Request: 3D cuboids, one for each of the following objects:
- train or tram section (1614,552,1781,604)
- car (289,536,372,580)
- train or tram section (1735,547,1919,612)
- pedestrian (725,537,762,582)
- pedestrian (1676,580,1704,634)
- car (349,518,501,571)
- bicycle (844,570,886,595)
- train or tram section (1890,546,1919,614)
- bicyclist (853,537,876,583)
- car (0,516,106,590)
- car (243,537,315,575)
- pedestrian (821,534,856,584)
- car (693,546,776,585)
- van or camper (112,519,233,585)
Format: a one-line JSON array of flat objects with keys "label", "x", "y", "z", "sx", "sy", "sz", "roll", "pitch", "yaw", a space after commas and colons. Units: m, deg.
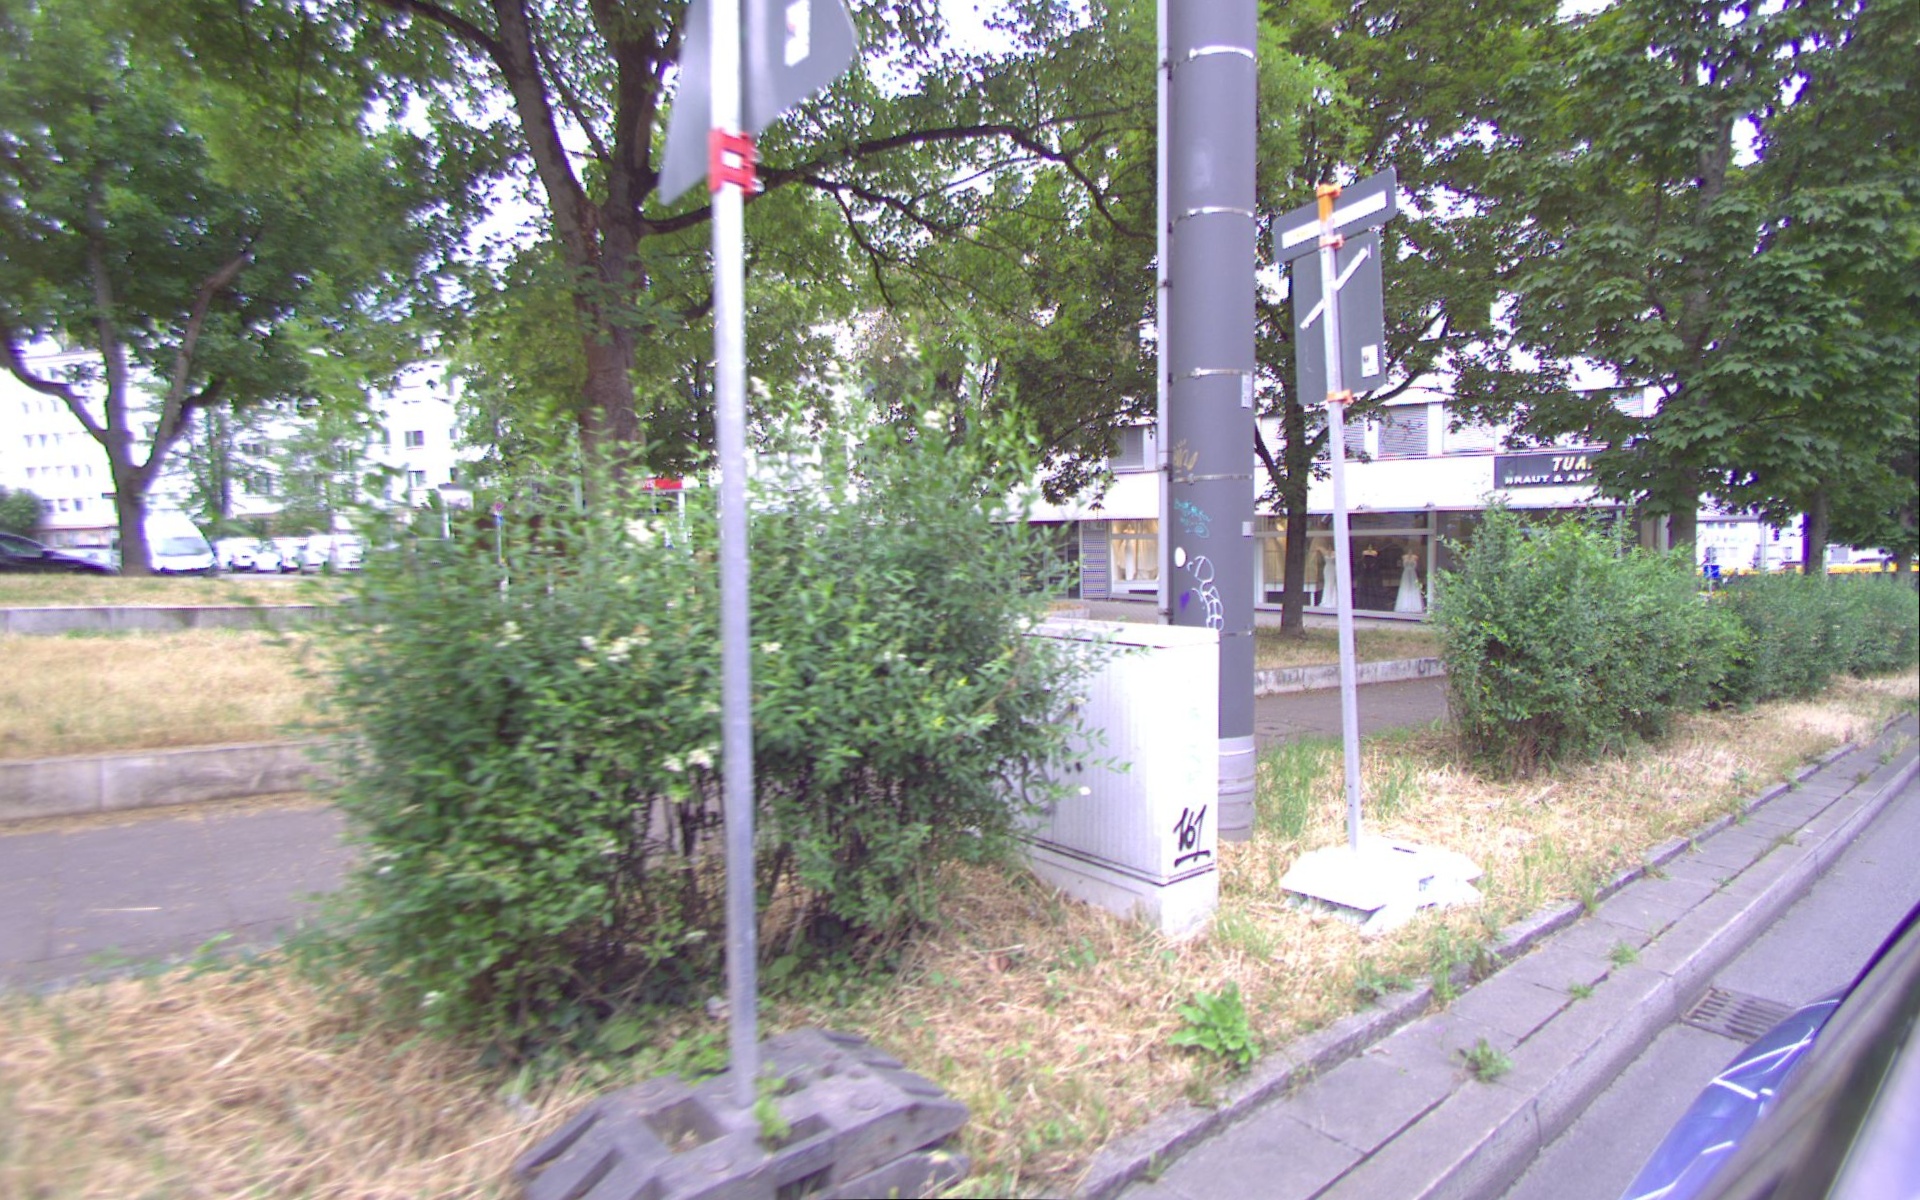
[{"label": "train or tram section", "x": 56.954, "y": -1.667, "z": 78.933, "sx": 2.838, "sy": 3.484, "sz": 14.224, "roll": -3, "pitch": 1, "yaw": 2}, {"label": "car", "x": -30.843, "y": -2.033, "z": 49.513, "sx": 4.438, "sy": 1.909, "sz": 1.974, "roll": -2, "pitch": 1, "yaw": 38}, {"label": "train or tram section", "x": 55.840, "y": -1.431, "z": 64.866, "sx": 2.882, "sy": 3.602, "sz": 14.206, "roll": -2, "pitch": 2, "yaw": 7}, {"label": "pedestrian", "x": -9.082, "y": -1.685, "z": 42.444, "sx": 1.014, "sy": 1.845, "sz": 1.150, "roll": -2, "pitch": 0, "yaw": 25}, {"label": "pedestrian", "x": 24.784, "y": 0.233, "z": 34.360, "sx": 0.669, "sy": 1.817, "sz": 0.602, "roll": -1, "pitch": 0, "yaw": 30}, {"label": "car", "x": -17.162, "y": -1.749, "z": 32.671, "sx": 1.733, "sy": 1.517, "sz": 4.118, "roll": -2, "pitch": 1, "yaw": 23}, {"label": "bicycle", "x": -3.382, "y": -0.634, "z": 35.954, "sx": 1.534, "sy": 0.869, "sz": 0.513, "roll": 2, "pitch": 1, "yaw": 38}, {"label": "train or tram section", "x": 52.847, "y": -1.022, "z": 51.031, "sx": 2.852, "sy": 3.709, "sz": 14.153, "roll": -2, "pitch": 1, "yaw": 17}, {"label": "bicyclist", "x": -3.396, "y": -1.416, "z": 35.958, "sx": 0.593, "sy": 1.622, "sz": 0.506, "roll": 1, "pitch": 1, "yaw": 38}, {"label": "car", "x": -21.215, "y": -0.993, "z": 21.688, "sx": 1.731, "sy": 1.527, "sz": 4.122, "roll": -2, "pitch": 1, "yaw": 21}, {"label": "car", "x": -35.868, "y": -2.299, "z": 53.291, "sx": 3.632, "sy": 1.825, "sz": 1.604, "roll": -2, "pitch": 1, "yaw": 29}, {"label": "pedestrian", "x": -4.261, "y": -1.447, "z": 35.475, "sx": 0.876, "sy": 1.722, "sz": 0.865, "roll": 1, "pitch": 1, "yaw": 38}, {"label": "car", "x": -10.136, "y": -1.554, "z": 45.454, "sx": 3.348, "sy": 1.669, "sz": 1.588, "roll": 2, "pitch": 2, "yaw": 22}, {"label": "van or camper", "x": -31.329, "y": -1.867, "z": 40.214, "sx": 5.404, "sy": 2.258, "sz": 2.273, "roll": -2, "pitch": 1, "yaw": 35}]
